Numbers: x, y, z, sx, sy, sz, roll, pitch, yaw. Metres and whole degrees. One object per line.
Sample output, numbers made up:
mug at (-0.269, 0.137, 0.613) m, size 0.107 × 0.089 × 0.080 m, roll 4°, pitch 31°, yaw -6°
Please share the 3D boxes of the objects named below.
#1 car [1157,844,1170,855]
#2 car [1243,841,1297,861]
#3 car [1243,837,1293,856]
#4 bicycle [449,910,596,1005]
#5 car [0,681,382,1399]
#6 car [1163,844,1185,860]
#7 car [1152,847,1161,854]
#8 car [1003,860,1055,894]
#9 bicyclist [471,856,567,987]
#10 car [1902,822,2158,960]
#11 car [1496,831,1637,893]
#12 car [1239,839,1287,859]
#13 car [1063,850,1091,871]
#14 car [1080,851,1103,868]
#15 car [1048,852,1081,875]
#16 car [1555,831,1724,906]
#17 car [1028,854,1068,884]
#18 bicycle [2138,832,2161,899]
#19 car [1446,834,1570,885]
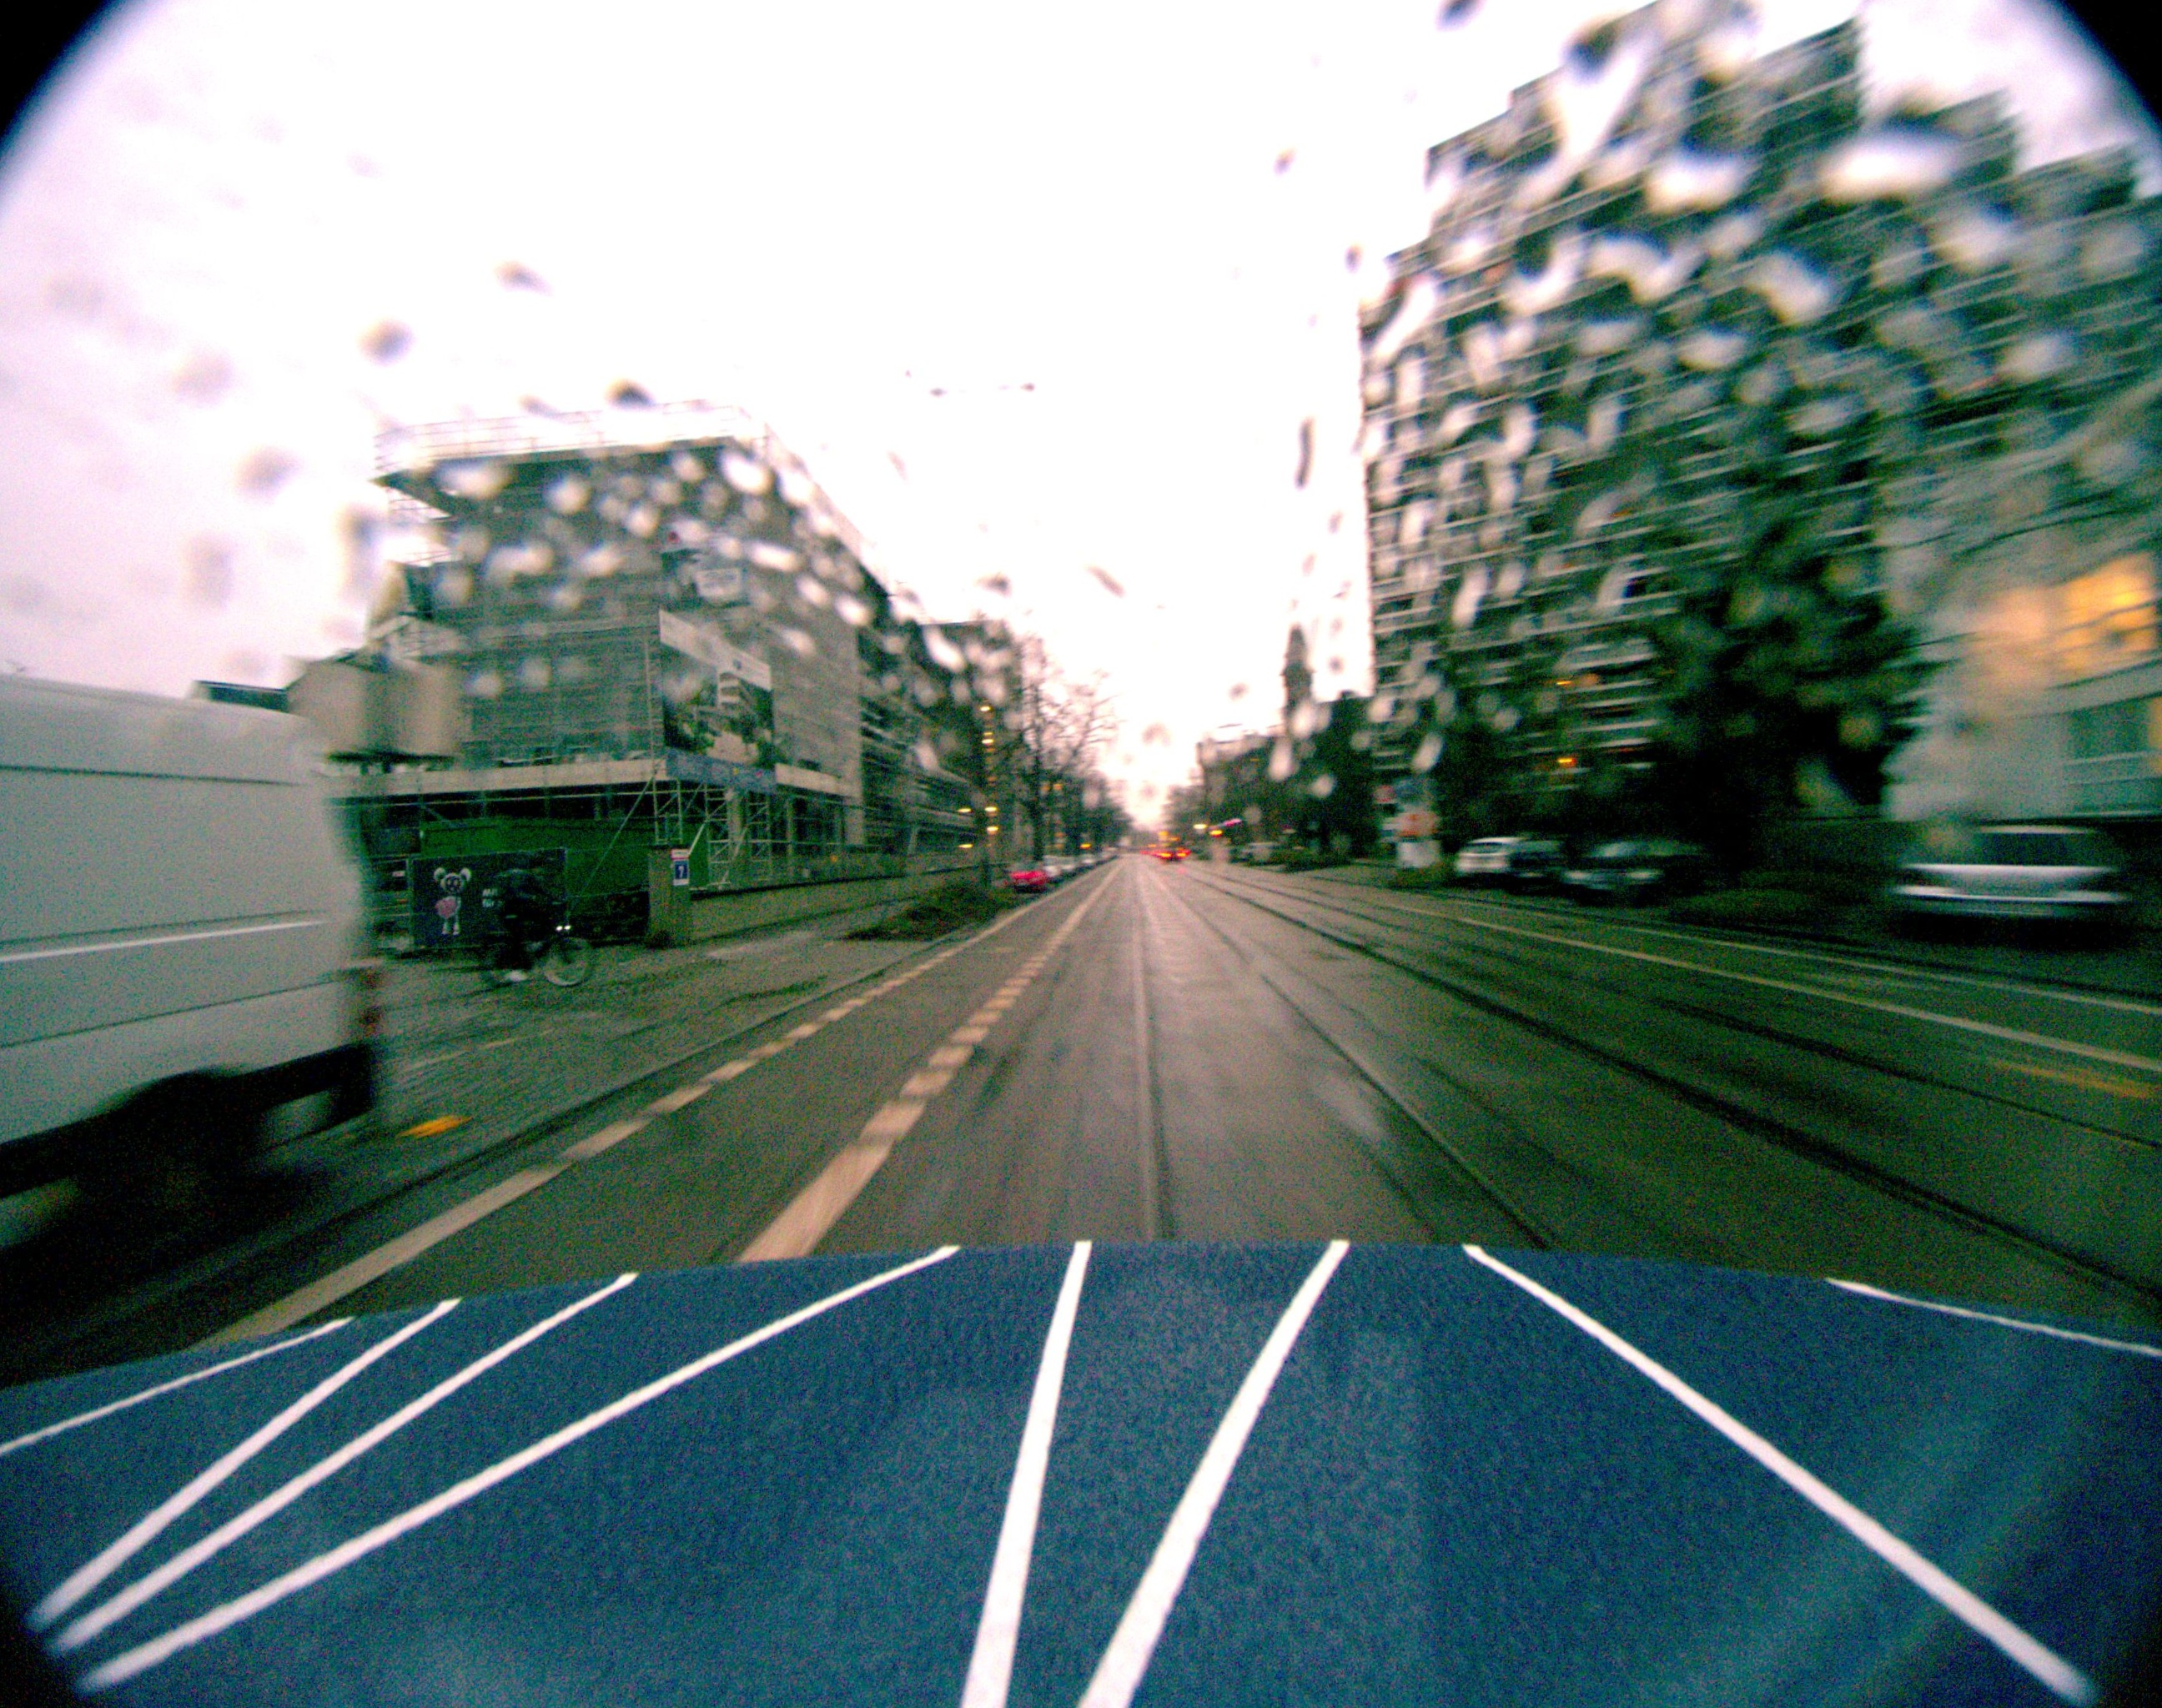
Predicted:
car at (11.759, -0.628, 108.784) m, size 1.710 × 1.569 × 4.381 m, roll -2°, pitch 0°, yaw 5°
car at (15.045, -0.215, 60.567) m, size 3.994 × 1.477 × 1.673 m, roll -2°, pitch 0°, yaw 10°
car at (15.788, -0.621, 64.259) m, size 3.994 × 1.477 × 1.673 m, roll -2°, pitch 0°, yaw 10°
bicycle at (-7.538, 1.352, 10.247) m, size 1.889 × 1.126 × 0.732 m, roll -2°, pitch 0°, yaw 24°
car at (-4.848, 0.681, 1.257) m, size 2.129 × 2.472 × 5.439 m, roll -3°, pitch 0°, yaw 1°
car at (9.865, -0.188, 80.827) m, size 1.752 × 1.535 × 4.295 m, roll -2°, pitch 0°, yaw 0°
car at (14.777, -0.644, 149.060) m, size 1.765 × 1.402 × 4.001 m, roll -2°, pitch 0°, yaw 4°
car at (-2.313, 1.029, 34.652) m, size 1.752 × 1.379 × 3.738 m, roll -2°, pitch 0°, yaw 6°
bicyclist at (-7.578, 0.889, 10.264) m, size 0.769 × 1.679 × 0.708 m, roll -2°, pitch 0°, yaw 25°
car at (12.092, 0.362, 9.920) m, size 4.008 × 1.438 × 1.788 m, roll -2°, pitch 0°, yaw -42°
car at (12.753, 0.170, 19.874) m, size 4.007 × 1.454 × 1.851 m, roll -2°, pitch 0°, yaw -38°
car at (16.062, -0.463, 67.232) m, size 3.994 × 1.630 × 2.001 m, roll -2°, pitch 0°, yaw 10°
car at (-0.311, 0.533, 63.543) m, size 1.865 × 1.584 × 4.002 m, roll -2°, pitch 0°, yaw 6°
car at (1.078, 0.521, 74.287) m, size 1.865 × 1.584 × 4.002 m, roll -2°, pitch 0°, yaw 6°
car at (-1.133, 0.656, 54.248) m, size 1.865 × 1.584 × 4.002 m, roll -2°, pitch 0°, yaw 6°
car at (11.957, 0.254, 16.190) m, size 4.007 × 1.371 × 1.851 m, roll -2°, pitch 0°, yaw -38°
car at (-1.837, 0.846, 43.566) m, size 1.752 × 1.575 × 3.738 m, roll -2°, pitch 0°, yaw 6°
bicycle at (19.016, 0.155, 12.273) m, size 2.200 × 1.114 × 0.643 m, roll -2°, pitch 0°, yaw 26°
car at (13.020, 0.148, 23.088) m, size 4.007 × 1.391 × 1.851 m, roll -2°, pitch 0°, yaw -38°
